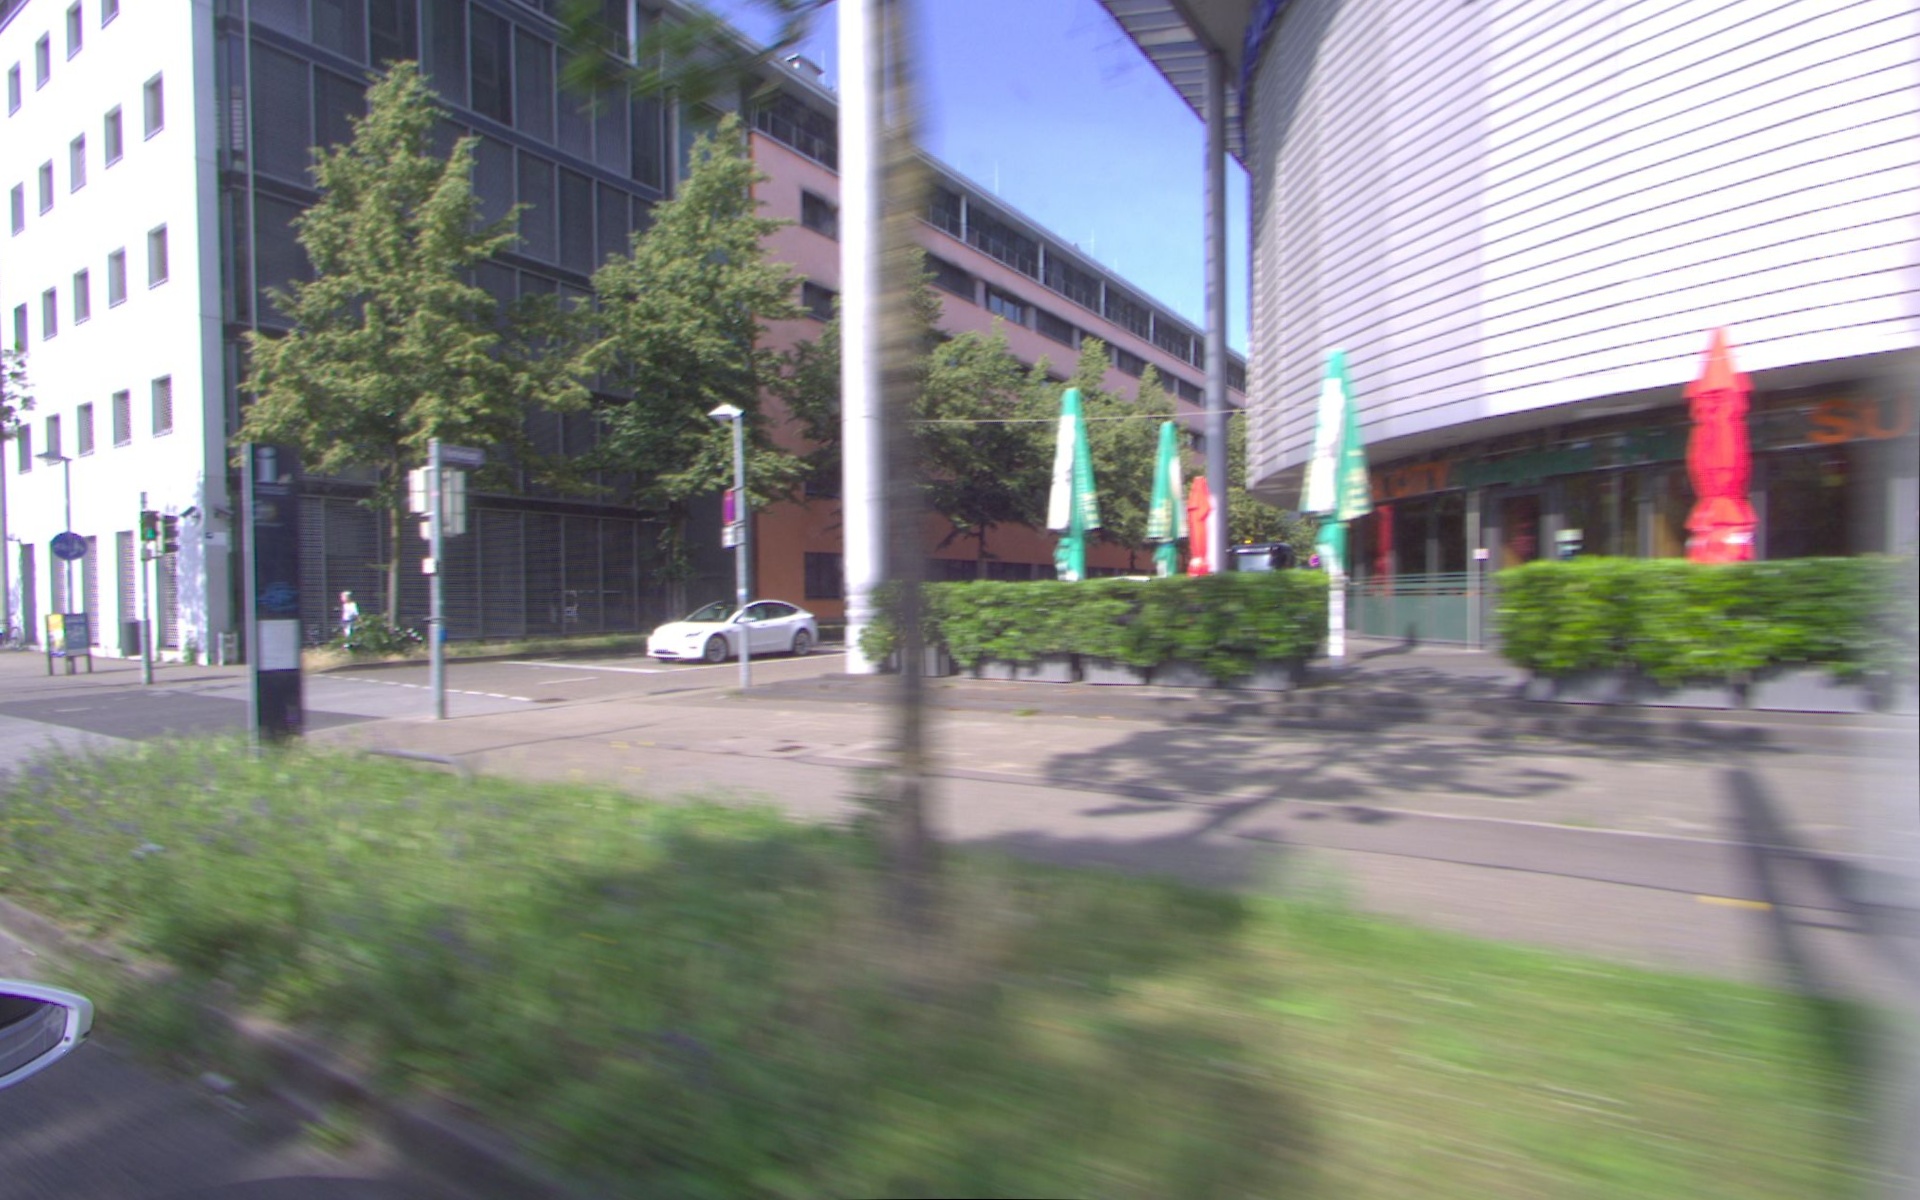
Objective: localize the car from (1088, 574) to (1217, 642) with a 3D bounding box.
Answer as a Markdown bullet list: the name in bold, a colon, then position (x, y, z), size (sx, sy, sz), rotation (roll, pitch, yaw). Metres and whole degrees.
- **car**: position (6.368, 0.248, 32.652), size (2.045, 2.040, 4.858), rotation (-1, 0, 40)

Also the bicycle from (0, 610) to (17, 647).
- **bicycle**: position (-29.420, 0.869, 30.562), size (1.527, 1.101, 0.492), rotation (0, 2, 31)

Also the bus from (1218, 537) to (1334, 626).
- **bus**: position (12.772, -0.680, 40.000), size (2.452, 3.190, 7.802), rotation (-1, 0, 32)

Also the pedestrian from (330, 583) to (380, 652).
- **pedestrian**: position (-14.530, 0.413, 24.055), size (0.703, 1.637, 0.775), rotation (0, 1, 32)

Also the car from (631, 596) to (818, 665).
- **car**: position (-5.570, 0.664, 24.192), size (1.874, 1.484, 4.309), rotation (0, 1, 33)
